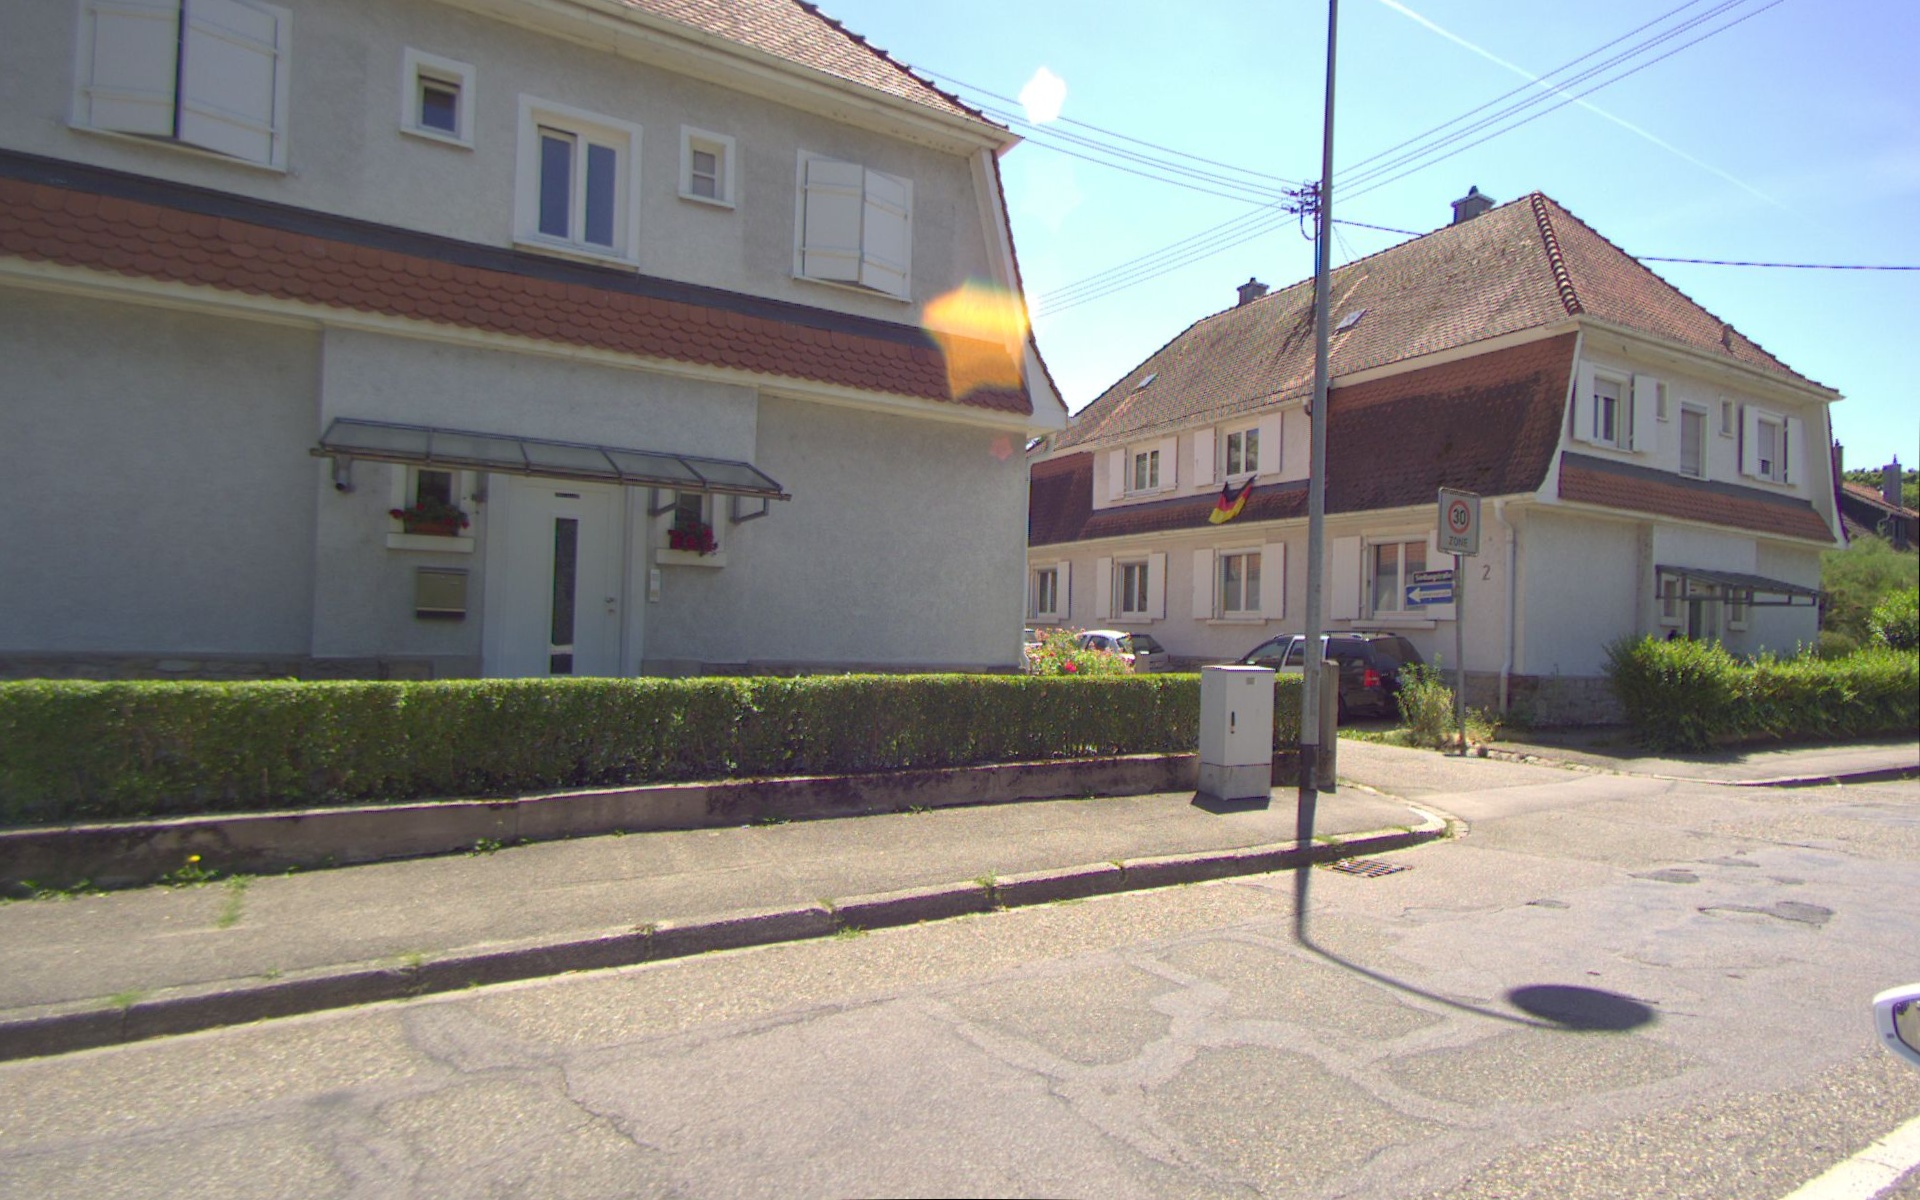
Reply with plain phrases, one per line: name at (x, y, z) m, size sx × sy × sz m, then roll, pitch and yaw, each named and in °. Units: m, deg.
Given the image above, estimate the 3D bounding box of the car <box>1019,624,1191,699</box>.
car at (3.210, 1.333, 22.874) m, size 1.758 × 1.460 × 3.764 m, roll 2°, pitch -1°, yaw -36°

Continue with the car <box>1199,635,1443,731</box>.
car at (6.179, 1.360, 17.569) m, size 1.755 × 1.443 × 3.770 m, roll 1°, pitch -2°, yaw -32°

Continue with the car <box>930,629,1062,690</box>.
car at (0.897, 1.544, 26.938) m, size 1.755 × 1.443 × 3.771 m, roll 2°, pitch -2°, yaw -31°
